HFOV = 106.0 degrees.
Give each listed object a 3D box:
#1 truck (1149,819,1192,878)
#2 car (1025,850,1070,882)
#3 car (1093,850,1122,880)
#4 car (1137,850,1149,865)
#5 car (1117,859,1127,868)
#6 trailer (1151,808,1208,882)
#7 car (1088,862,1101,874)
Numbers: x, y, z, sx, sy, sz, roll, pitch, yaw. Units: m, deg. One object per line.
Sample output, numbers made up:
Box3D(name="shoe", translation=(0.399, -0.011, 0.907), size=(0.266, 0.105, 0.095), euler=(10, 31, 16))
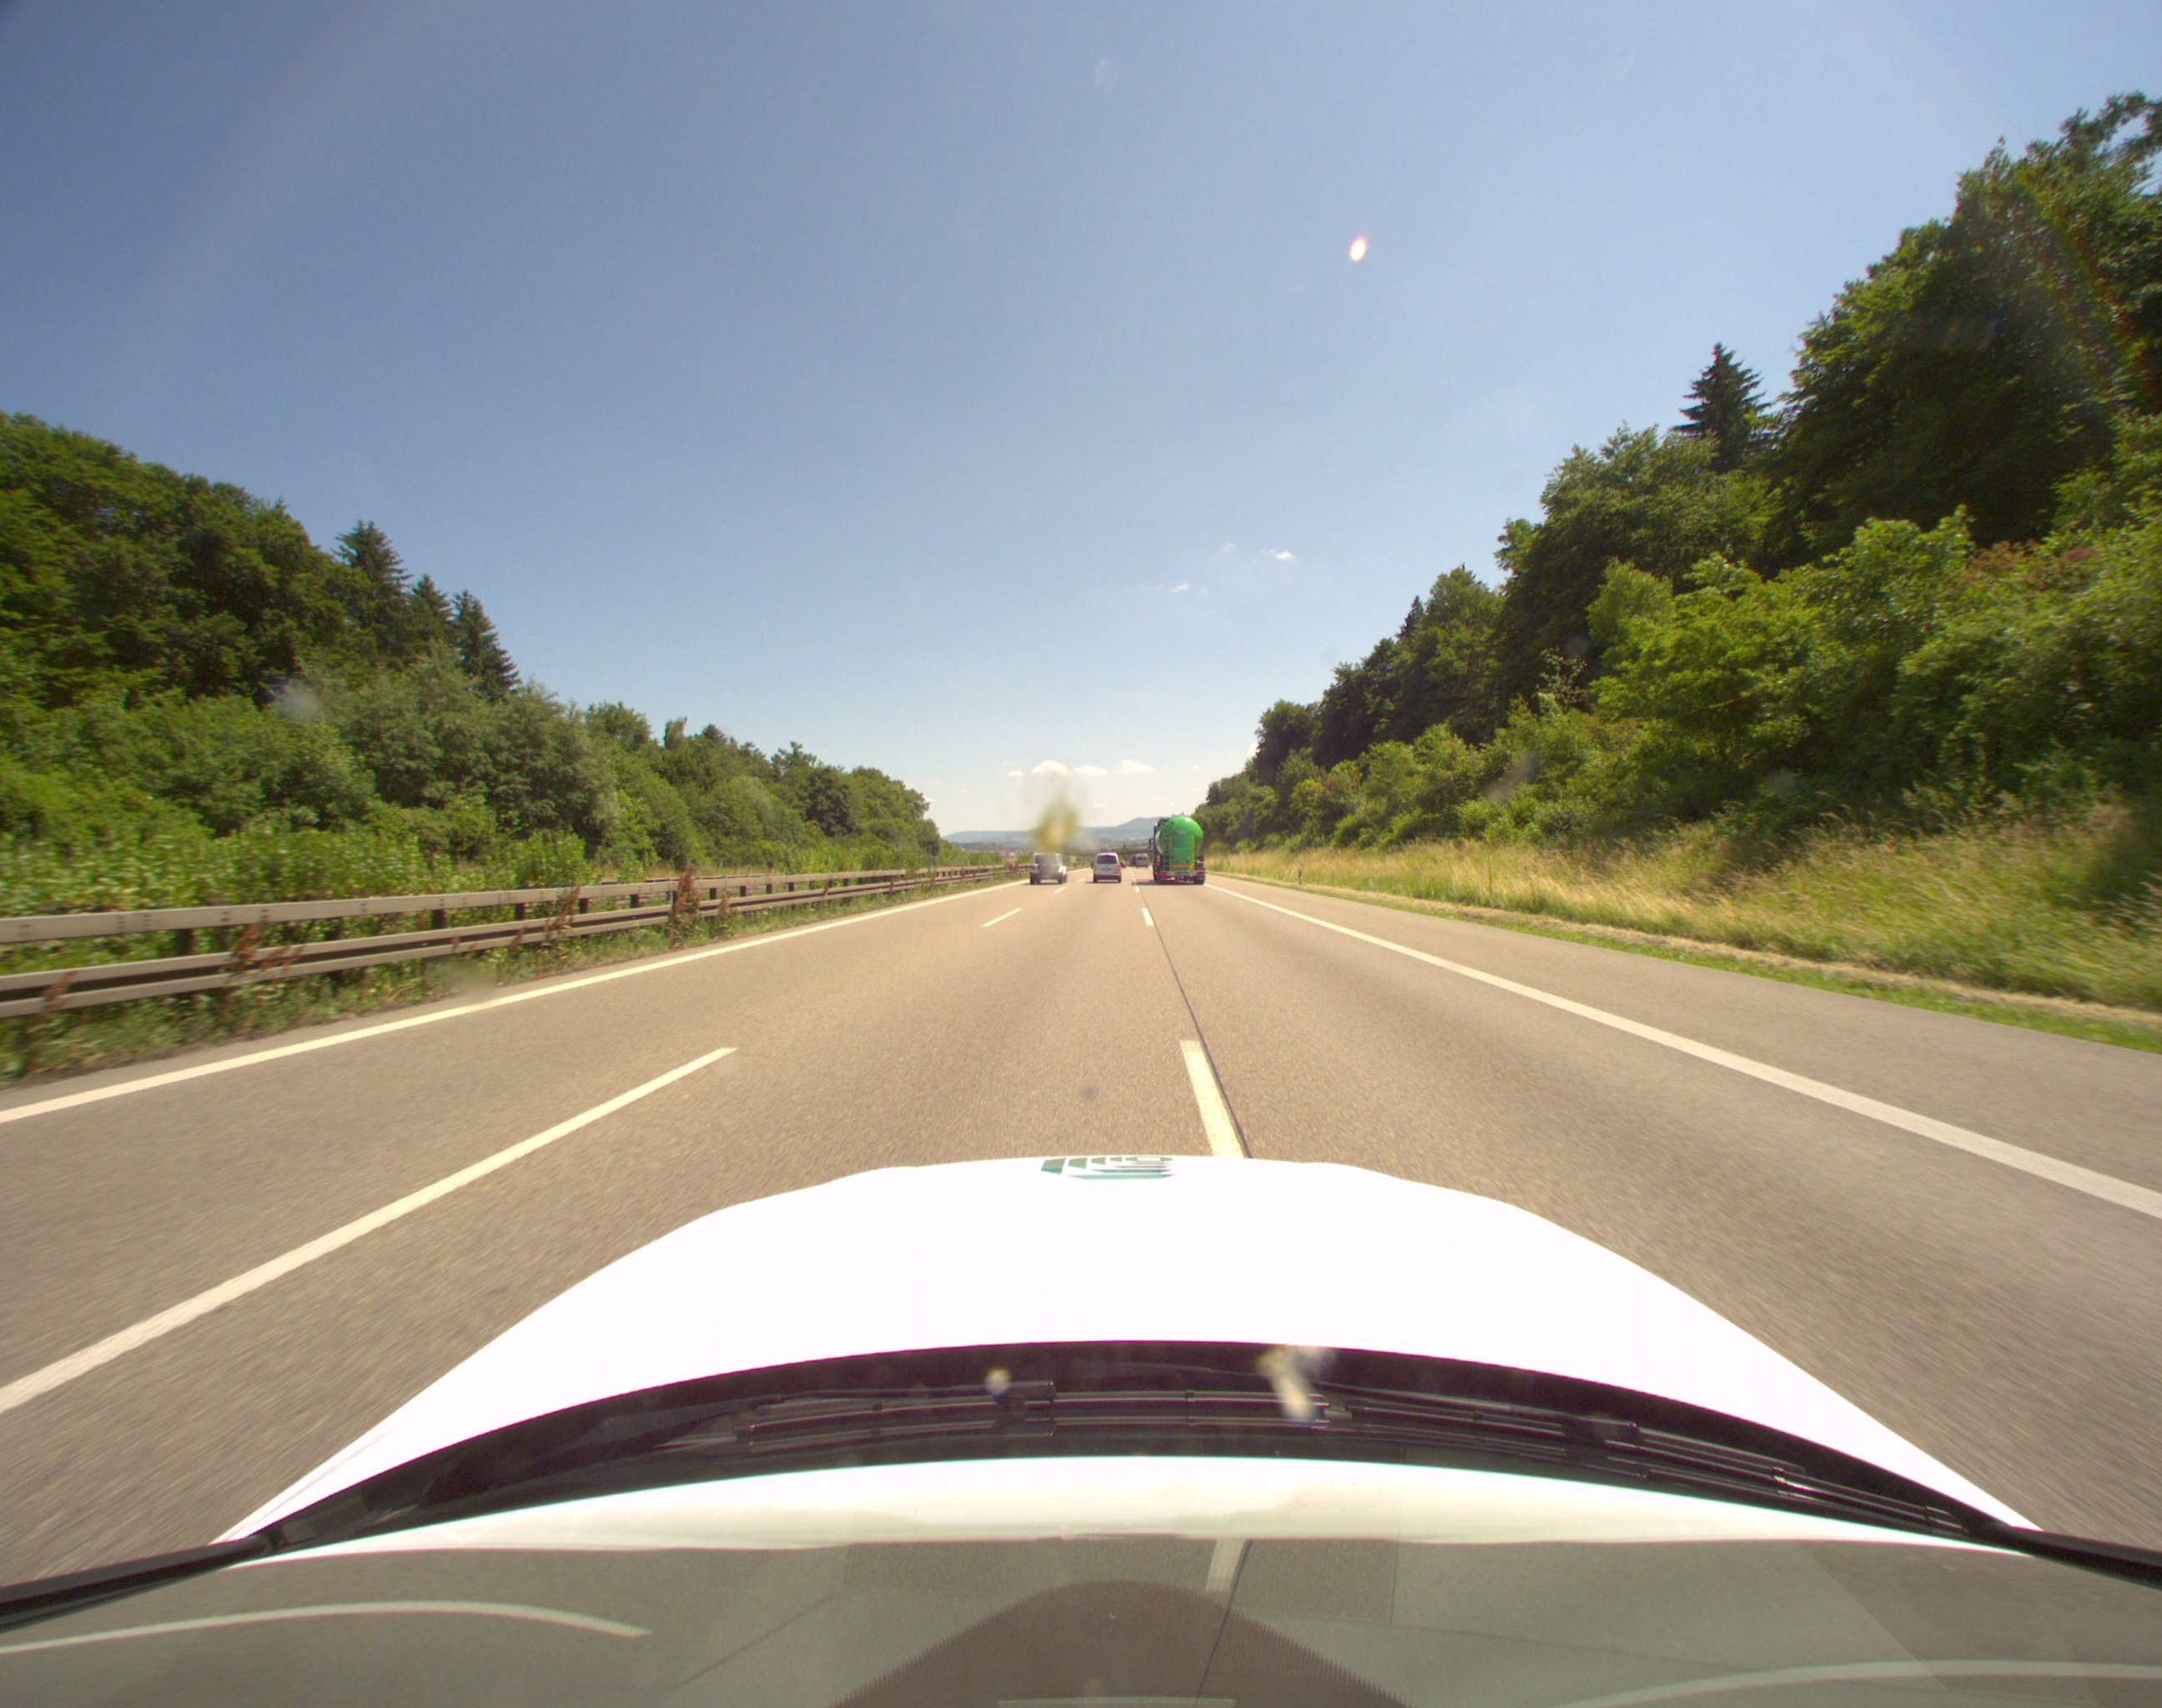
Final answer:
Box3D(name="truck", translation=(5.990, -0.342, 54.983), size=(2.500, 3.842, 4.894), euler=(0, 0, 2))
Box3D(name="car", translation=(-1.969, 0.705, 49.317), size=(2.074, 1.829, 4.760), euler=(0, 0, 5))
Box3D(name="car", translation=(1.691, 0.676, 51.799), size=(1.739, 1.829, 4.802), euler=(0, 0, 1))
Box3D(name="car", translation=(10.973, 0.644, 145.089), size=(2.080, 2.576, 6.629), euler=(0, 0, 4))
Box3D(name="car", translation=(6.961, 1.566, 138.582), size=(1.439, 1.550, 3.362), euler=(0, 0, 6))
Box3D(name="trailer", translation=(5.822, -0.467, 49.720), size=(2.577, 4.028, 10.475), euler=(0, 0, 2))
Box3D(name="car", translation=(2.345, 2.407, 140.307), size=(1.985, 2.013, 4.003), euler=(0, 0, 3))
